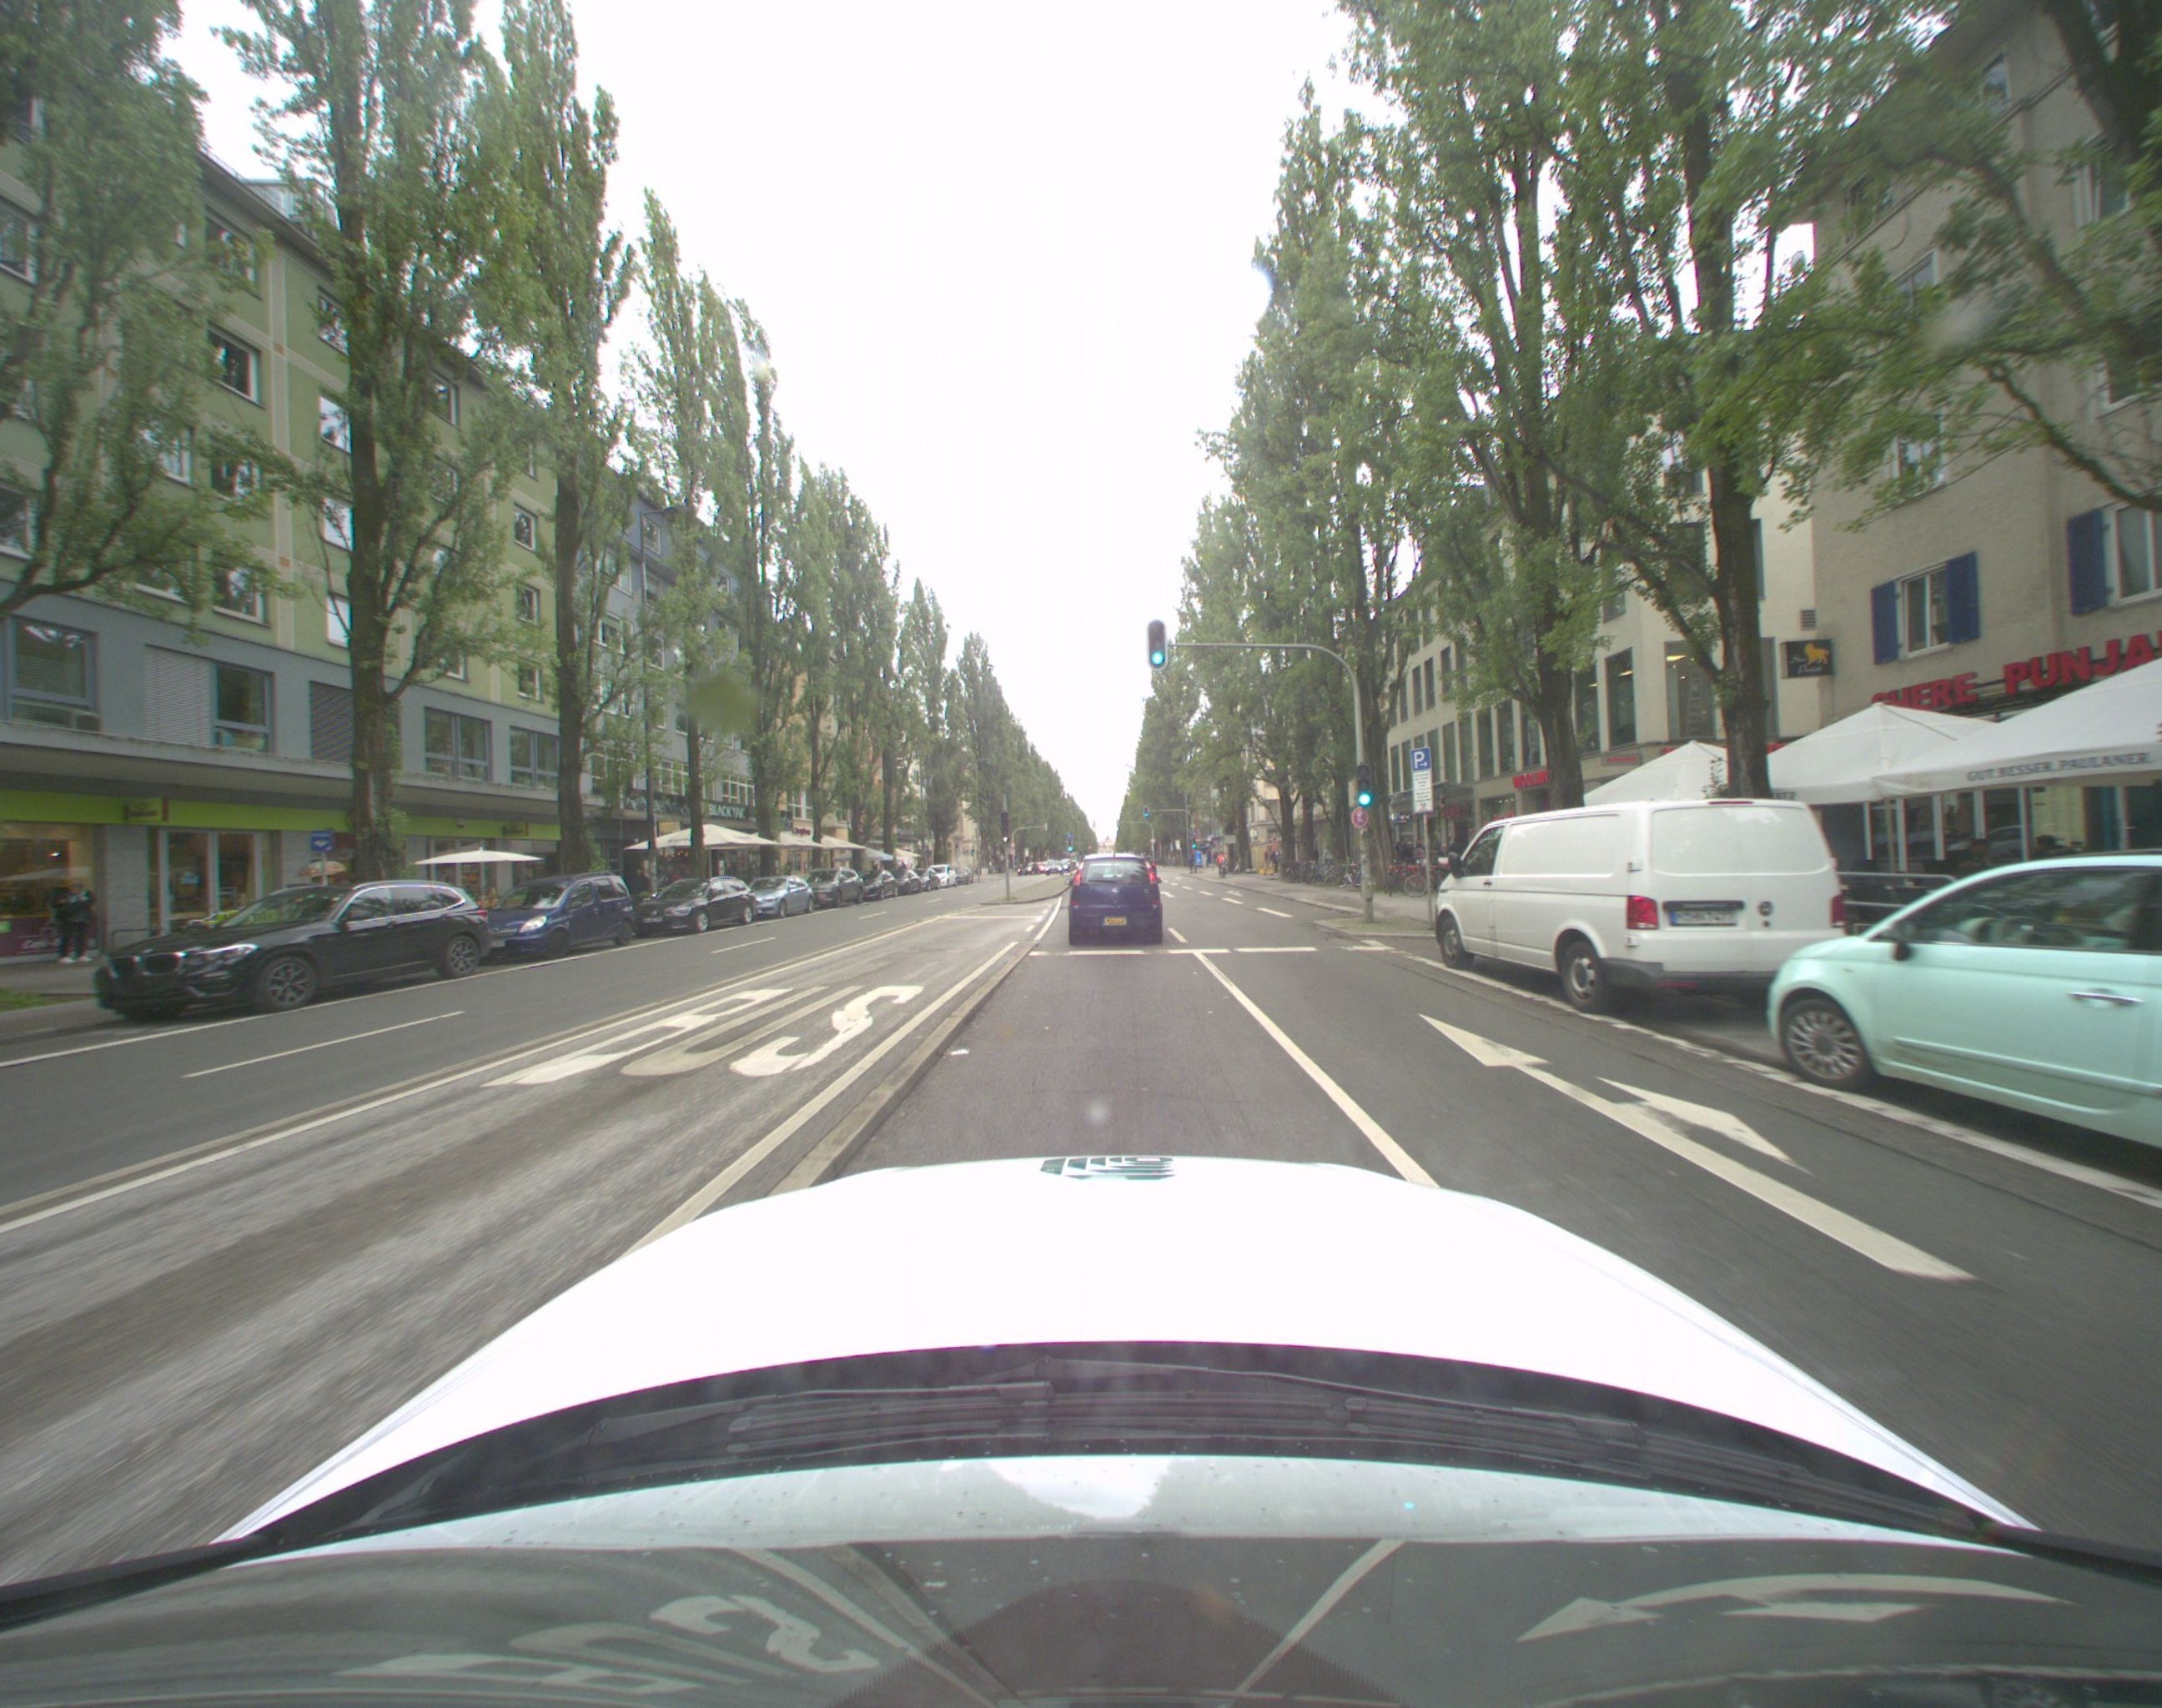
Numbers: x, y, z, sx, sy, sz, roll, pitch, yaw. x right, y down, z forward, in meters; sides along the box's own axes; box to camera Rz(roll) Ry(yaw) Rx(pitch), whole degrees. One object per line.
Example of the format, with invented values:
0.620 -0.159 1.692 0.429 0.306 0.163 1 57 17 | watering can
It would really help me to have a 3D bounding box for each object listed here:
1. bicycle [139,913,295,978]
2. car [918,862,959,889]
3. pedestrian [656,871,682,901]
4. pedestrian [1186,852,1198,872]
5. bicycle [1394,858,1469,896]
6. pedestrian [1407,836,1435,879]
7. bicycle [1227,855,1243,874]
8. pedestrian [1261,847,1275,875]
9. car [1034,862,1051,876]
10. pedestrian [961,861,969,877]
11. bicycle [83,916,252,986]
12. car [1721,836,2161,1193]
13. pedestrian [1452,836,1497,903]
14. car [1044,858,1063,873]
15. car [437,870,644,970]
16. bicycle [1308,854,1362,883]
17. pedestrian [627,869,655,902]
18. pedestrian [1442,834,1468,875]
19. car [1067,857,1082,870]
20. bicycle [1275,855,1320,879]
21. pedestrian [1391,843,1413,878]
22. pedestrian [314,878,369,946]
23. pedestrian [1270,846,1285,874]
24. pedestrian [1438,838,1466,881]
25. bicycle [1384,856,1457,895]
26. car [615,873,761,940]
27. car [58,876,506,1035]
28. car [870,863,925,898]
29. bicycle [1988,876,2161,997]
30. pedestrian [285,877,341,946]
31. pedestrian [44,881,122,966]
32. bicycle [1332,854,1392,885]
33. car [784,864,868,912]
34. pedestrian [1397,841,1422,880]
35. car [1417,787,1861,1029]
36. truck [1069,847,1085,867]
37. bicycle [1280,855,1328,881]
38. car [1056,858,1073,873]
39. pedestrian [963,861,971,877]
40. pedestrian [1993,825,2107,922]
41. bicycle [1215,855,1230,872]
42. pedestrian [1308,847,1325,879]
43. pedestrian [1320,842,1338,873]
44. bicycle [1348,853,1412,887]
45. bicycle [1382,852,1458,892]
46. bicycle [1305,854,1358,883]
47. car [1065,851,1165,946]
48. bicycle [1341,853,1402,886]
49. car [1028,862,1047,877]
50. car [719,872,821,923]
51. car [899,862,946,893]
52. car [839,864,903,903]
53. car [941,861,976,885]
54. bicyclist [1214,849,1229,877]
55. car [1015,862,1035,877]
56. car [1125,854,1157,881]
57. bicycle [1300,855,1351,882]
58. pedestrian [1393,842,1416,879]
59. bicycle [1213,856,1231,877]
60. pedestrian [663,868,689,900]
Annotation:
-15.677 1.647 14.818 1.943 1.095 0.718 0 0 -5 | bicycle
-9.687 1.448 55.841 1.859 1.665 4.122 -4 0 2 | car
-19.327 1.488 38.225 0.792 1.410 0.770 -1 -1 14 | pedestrian
9.680 0.704 71.153 0.880 1.766 0.769 -2 -1 -1 | pedestrian
10.698 0.698 24.859 1.989 1.033 0.626 -3 -1 -1 | bicycle
13.510 0.148 32.399 0.671 1.686 0.758 -3 -1 -3 | pedestrian
11.310 0.789 59.956 0.769 1.349 2.450 -2 0 1 | bicycle
12.144 0.451 52.879 0.636 1.827 0.885 0 -1 -8 | pedestrian
-4.997 1.973 107.304 1.859 1.665 4.122 -2 0 2 | car
-13.247 1.711 92.800 0.768 1.766 0.881 -2 -1 -14 | pedestrian
-15.643 1.643 13.986 1.943 1.095 0.718 0 0 -5 | bicycle
5.319 0.663 4.080 1.535 1.492 3.525 -1 -1 3 | car
10.140 0.396 20.995 0.749 1.686 0.755 -4 -2 44 | pedestrian
-2.884 1.242 86.894 1.728 1.465 3.366 -2 0 2 | car
-11.203 1.279 17.246 1.704 1.721 3.920 -4 0 -1 | car
11.627 0.667 37.326 2.220 1.204 0.626 -3 -1 -1 | bicycle
-18.992 1.338 35.151 0.763 1.410 0.799 0 -1 -3 | pedestrian
17.004 0.026 37.053 0.719 1.827 0.885 0 -1 -8 | pedestrian
-0.958 1.314 114.490 1.859 1.665 4.122 -2 0 2 | car
11.479 0.690 43.232 2.220 1.204 0.626 -3 -1 -1 | bicycle
17.025 0.363 43.237 0.719 1.827 0.885 0 -1 -8 | pedestrian
-19.042 1.479 20.990 0.753 1.686 0.675 -3 -1 3 | pedestrian
12.826 0.408 53.166 0.636 1.827 0.885 0 -1 -8 | pedestrian
14.984 0.236 32.888 0.754 1.686 0.675 -3 -1 -1 | pedestrian
10.727 0.681 25.769 1.989 1.133 0.626 -3 -1 -1 | bicycle
-10.835 1.389 22.856 1.792 1.489 4.352 -4 0 2 | car
-11.136 1.275 11.989 1.859 1.664 4.613 -4 0 2 | car
-10.078 1.430 45.055 1.859 1.665 4.122 -4 0 2 | car
9.372 0.722 7.483 0.348 0.996 1.453 -4 -1 -2 | bicycle
-19.815 1.471 21.031 0.753 1.686 0.675 -3 -1 3 | pedestrian
-20.790 1.428 16.981 0.670 1.686 0.759 -3 -1 3 | pedestrian
11.673 0.636 33.836 2.220 1.204 0.626 -3 -1 -1 | bicycle
-10.417 1.344 33.644 1.859 1.665 4.402 -4 0 2 | car
15.377 0.308 38.102 0.719 1.827 0.885 0 -1 -8 | pedestrian
5.562 0.454 9.072 1.781 1.946 4.732 -2 0 2 | car
-0.689 0.540 139.483 2.374 3.347 7.113 -2 0 2 | truck
11.460 0.719 41.852 2.220 1.204 0.626 -3 -1 -1 | bicycle
-1.970 1.345 98.733 1.859 1.665 4.122 -2 0 2 | car
-12.651 1.670 90.178 0.768 1.766 0.881 -2 -1 -12 | pedestrian
13.882 0.275 11.694 0.636 1.324 0.800 -2 -1 1 | pedestrian
11.345 0.741 65.463 0.769 1.349 2.450 -2 0 1 | bicycle
13.803 0.533 47.719 0.636 1.827 0.885 0 -1 -8 | pedestrian
14.557 0.210 47.857 0.719 1.827 0.885 0 -1 -8 | pedestrian
11.592 0.626 31.641 2.220 1.204 0.626 -3 -1 -1 | bicycle
11.237 0.591 27.037 2.220 1.204 0.626 -3 -1 -1 | bicycle
11.716 0.674 38.133 2.220 1.204 0.626 -3 -1 -1 | bicycle
0.648 0.765 15.876 1.665 1.568 4.002 -1 0 2 | car
11.672 0.631 32.752 2.220 1.204 0.626 -3 -1 -1 | bicycle
-5.378 1.890 100.896 1.859 1.665 4.122 -2 0 2 | car
-10.581 1.444 28.035 1.727 1.425 4.145 -4 0 2 | car
-9.792 1.430 50.579 1.859 1.665 4.122 -4 0 2 | car
-10.200 1.388 39.826 1.859 1.665 4.122 -4 0 2 | car
-9.448 1.444 63.016 1.859 1.665 4.122 -4 0 2 | car
9.256 0.603 53.711 0.764 1.766 0.885 -2 -1 1 | bicyclist
-6.463 1.808 94.557 1.859 1.665 4.122 -2 0 2 | car
3.832 0.852 52.456 1.889 1.622 4.002 -1 0 2 | car
11.693 0.687 38.932 2.220 1.204 0.626 -3 -1 -1 | bicycle
16.115 0.335 40.610 0.719 1.827 0.885 0 -1 -8 | pedestrian
9.265 0.810 53.646 0.769 1.349 2.450 -2 0 1 | bicycle
-18.030 1.343 36.262 0.763 1.410 0.799 0 -1 -3 | pedestrian
